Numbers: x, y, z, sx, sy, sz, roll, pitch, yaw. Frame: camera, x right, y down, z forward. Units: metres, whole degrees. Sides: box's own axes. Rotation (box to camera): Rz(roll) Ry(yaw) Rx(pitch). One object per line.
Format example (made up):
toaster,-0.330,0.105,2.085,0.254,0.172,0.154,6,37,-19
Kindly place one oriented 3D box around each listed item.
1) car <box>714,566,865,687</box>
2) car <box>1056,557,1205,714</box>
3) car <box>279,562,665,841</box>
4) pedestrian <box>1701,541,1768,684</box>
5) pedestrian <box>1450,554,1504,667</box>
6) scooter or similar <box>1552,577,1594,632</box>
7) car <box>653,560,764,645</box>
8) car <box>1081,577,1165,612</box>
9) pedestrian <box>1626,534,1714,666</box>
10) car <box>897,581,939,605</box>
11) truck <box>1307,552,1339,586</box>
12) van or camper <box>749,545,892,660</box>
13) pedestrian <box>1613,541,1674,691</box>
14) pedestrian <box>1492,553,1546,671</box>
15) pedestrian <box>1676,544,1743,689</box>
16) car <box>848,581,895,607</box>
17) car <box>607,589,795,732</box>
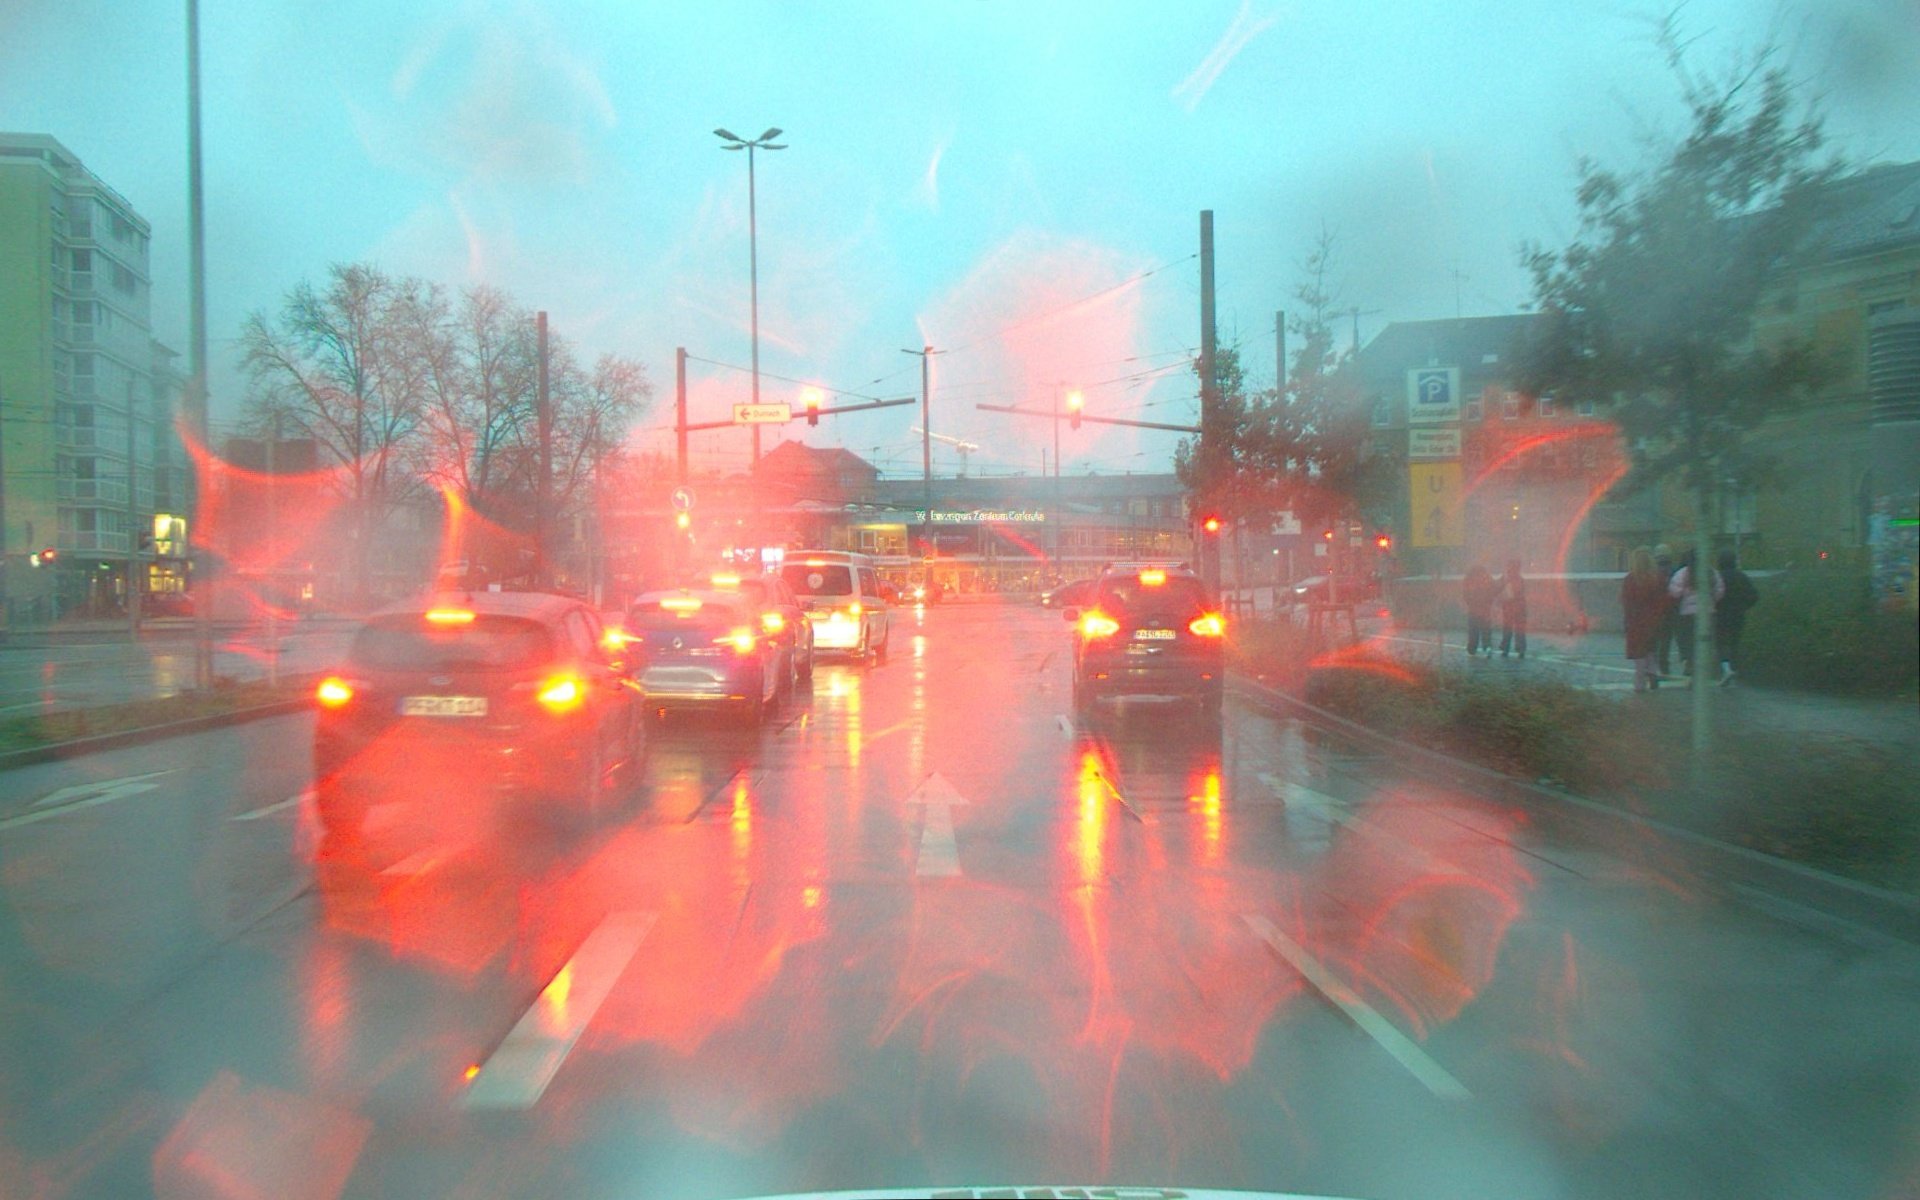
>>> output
car,-2.497,0.352,25.233,1.748,1.628,4.542,2,0,1
car,2.168,0.374,21.574,1.740,1.831,4.427,0,1,4
car,-3.062,0.554,11.176,1.667,1.507,3.869,2,0,-4
pedestrian,9.579,0.154,20.438,0.704,1.717,0.759,-1,0,26
pedestrian,9.234,0.174,29.537,0.792,1.963,0.759,1,3,27
scooter or similar,14.013,0.095,37.791,0.504,1.235,1.377,-1,0,37
car,-5.617,0.040,37.343,1.846,1.803,4.000,0,0,1
car,7.610,-0.269,76.906,1.964,1.541,3.978,-1,1,41
pedestrian,10.001,-0.002,23.315,0.837,1.822,0.746,-1,0,-16
car,-2.658,-0.466,104.878,1.774,1.472,4.004,-1,0,12
truck,30.795,-2.602,140.242,1.952,2.738,5.117,-1,0,20
van or camper,-2.744,0.033,33.750,2.155,2.146,4.990,1,0,4
pedestrian,8.464,0.193,20.479,0.572,1.812,0.768,-3,-1,27
pedestrian,9.939,0.192,29.407,0.792,2.048,0.759,1,3,27
pedestrian,9.110,0.195,20.099,0.654,1.717,0.611,-3,1,27
car,-5.247,-0.368,98.314,1.774,1.472,4.004,-1,0,12
car,-2.835,0.605,18.877,1.626,1.428,4.118,1,0,-2
